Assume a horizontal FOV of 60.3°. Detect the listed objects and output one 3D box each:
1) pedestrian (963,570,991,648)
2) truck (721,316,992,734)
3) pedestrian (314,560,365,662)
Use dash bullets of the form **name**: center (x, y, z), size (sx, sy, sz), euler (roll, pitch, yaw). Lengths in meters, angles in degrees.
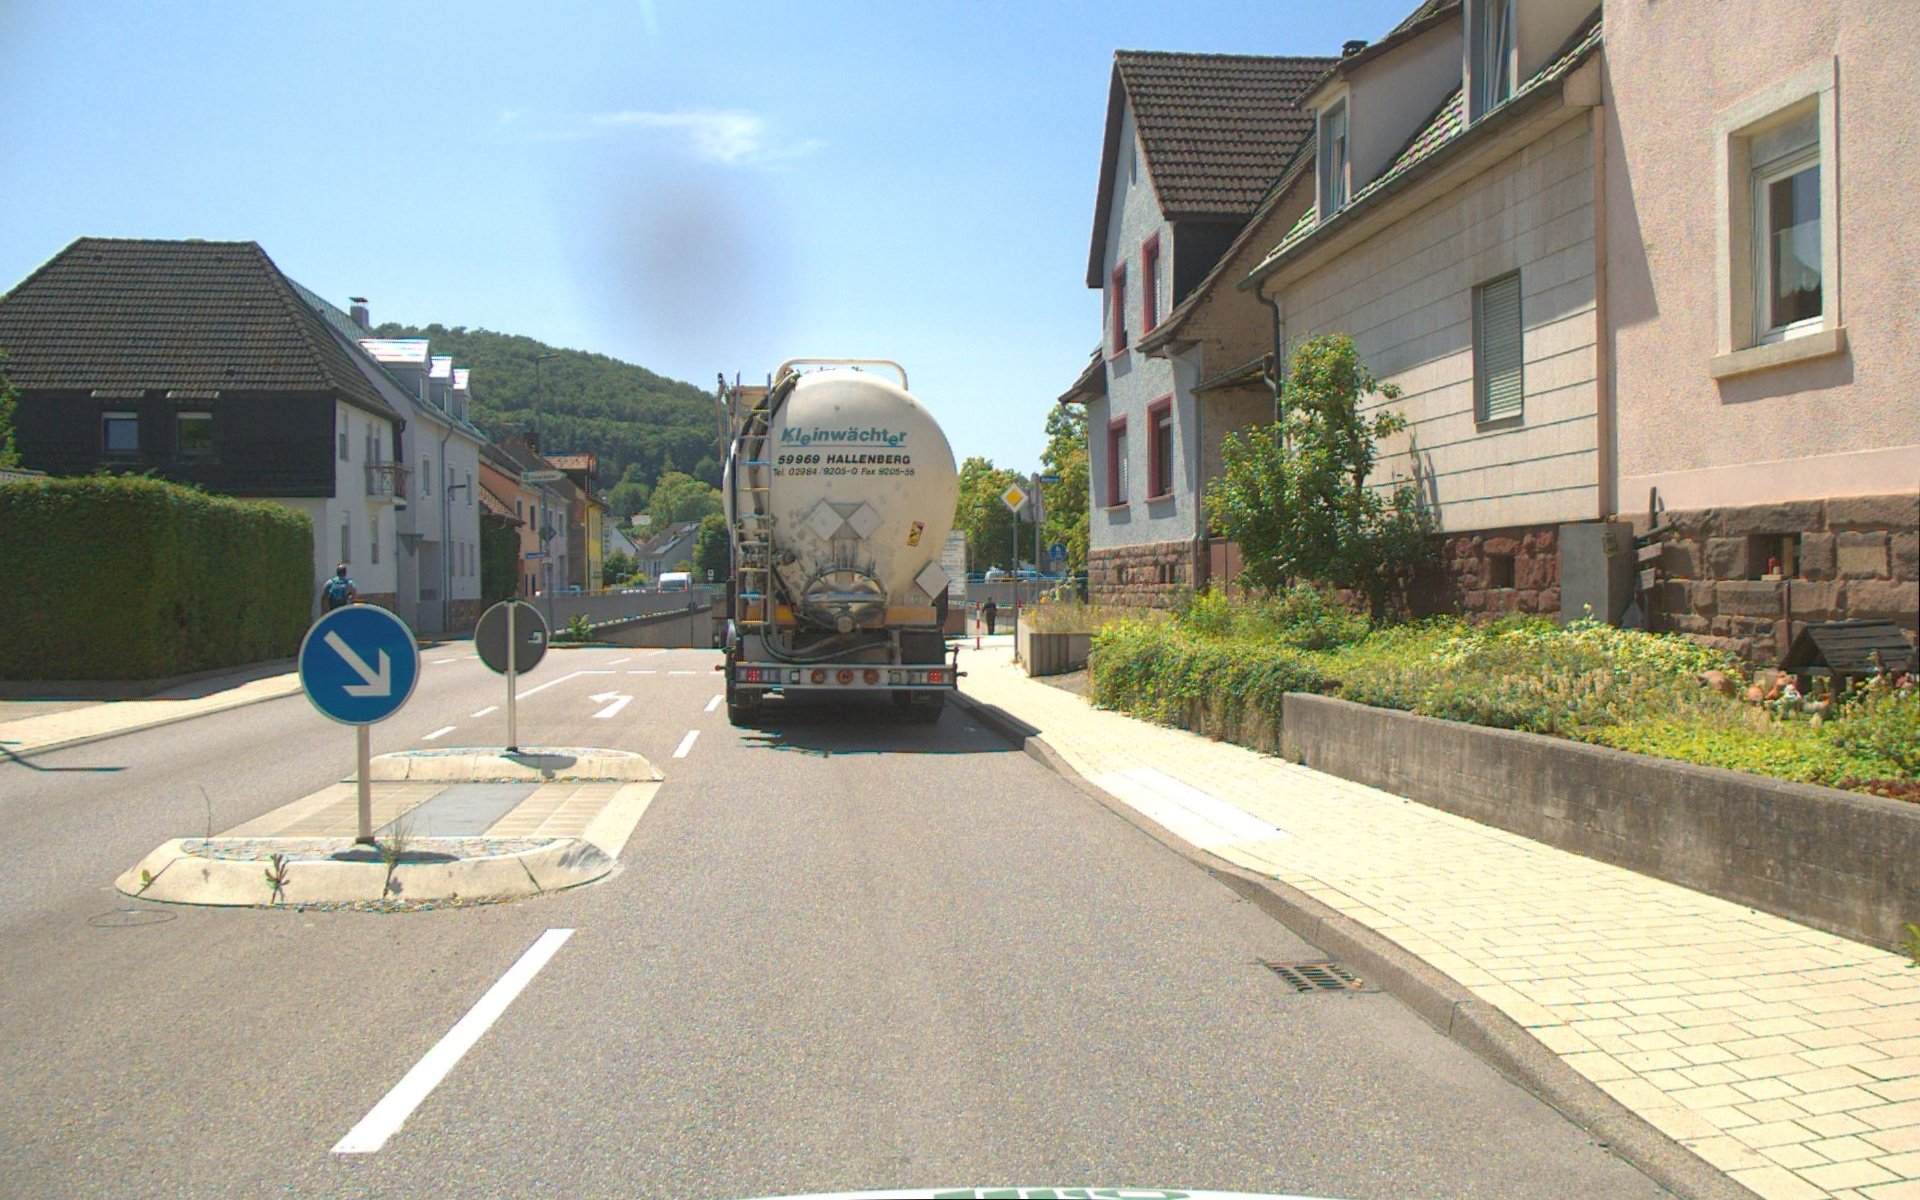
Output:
- **pedestrian**: center (0.375, 0.206, 36.840), size (0.559, 1.723, 0.720), euler (1, -1, -3)
- **truck**: center (-1.730, -0.769, 21.890), size (2.698, 4.127, 10.870), euler (0, 0, -8)
- **pedestrian**: center (-11.412, 0.205, 30.461), size (0.699, 1.855, 0.896), euler (1, -1, -11)
